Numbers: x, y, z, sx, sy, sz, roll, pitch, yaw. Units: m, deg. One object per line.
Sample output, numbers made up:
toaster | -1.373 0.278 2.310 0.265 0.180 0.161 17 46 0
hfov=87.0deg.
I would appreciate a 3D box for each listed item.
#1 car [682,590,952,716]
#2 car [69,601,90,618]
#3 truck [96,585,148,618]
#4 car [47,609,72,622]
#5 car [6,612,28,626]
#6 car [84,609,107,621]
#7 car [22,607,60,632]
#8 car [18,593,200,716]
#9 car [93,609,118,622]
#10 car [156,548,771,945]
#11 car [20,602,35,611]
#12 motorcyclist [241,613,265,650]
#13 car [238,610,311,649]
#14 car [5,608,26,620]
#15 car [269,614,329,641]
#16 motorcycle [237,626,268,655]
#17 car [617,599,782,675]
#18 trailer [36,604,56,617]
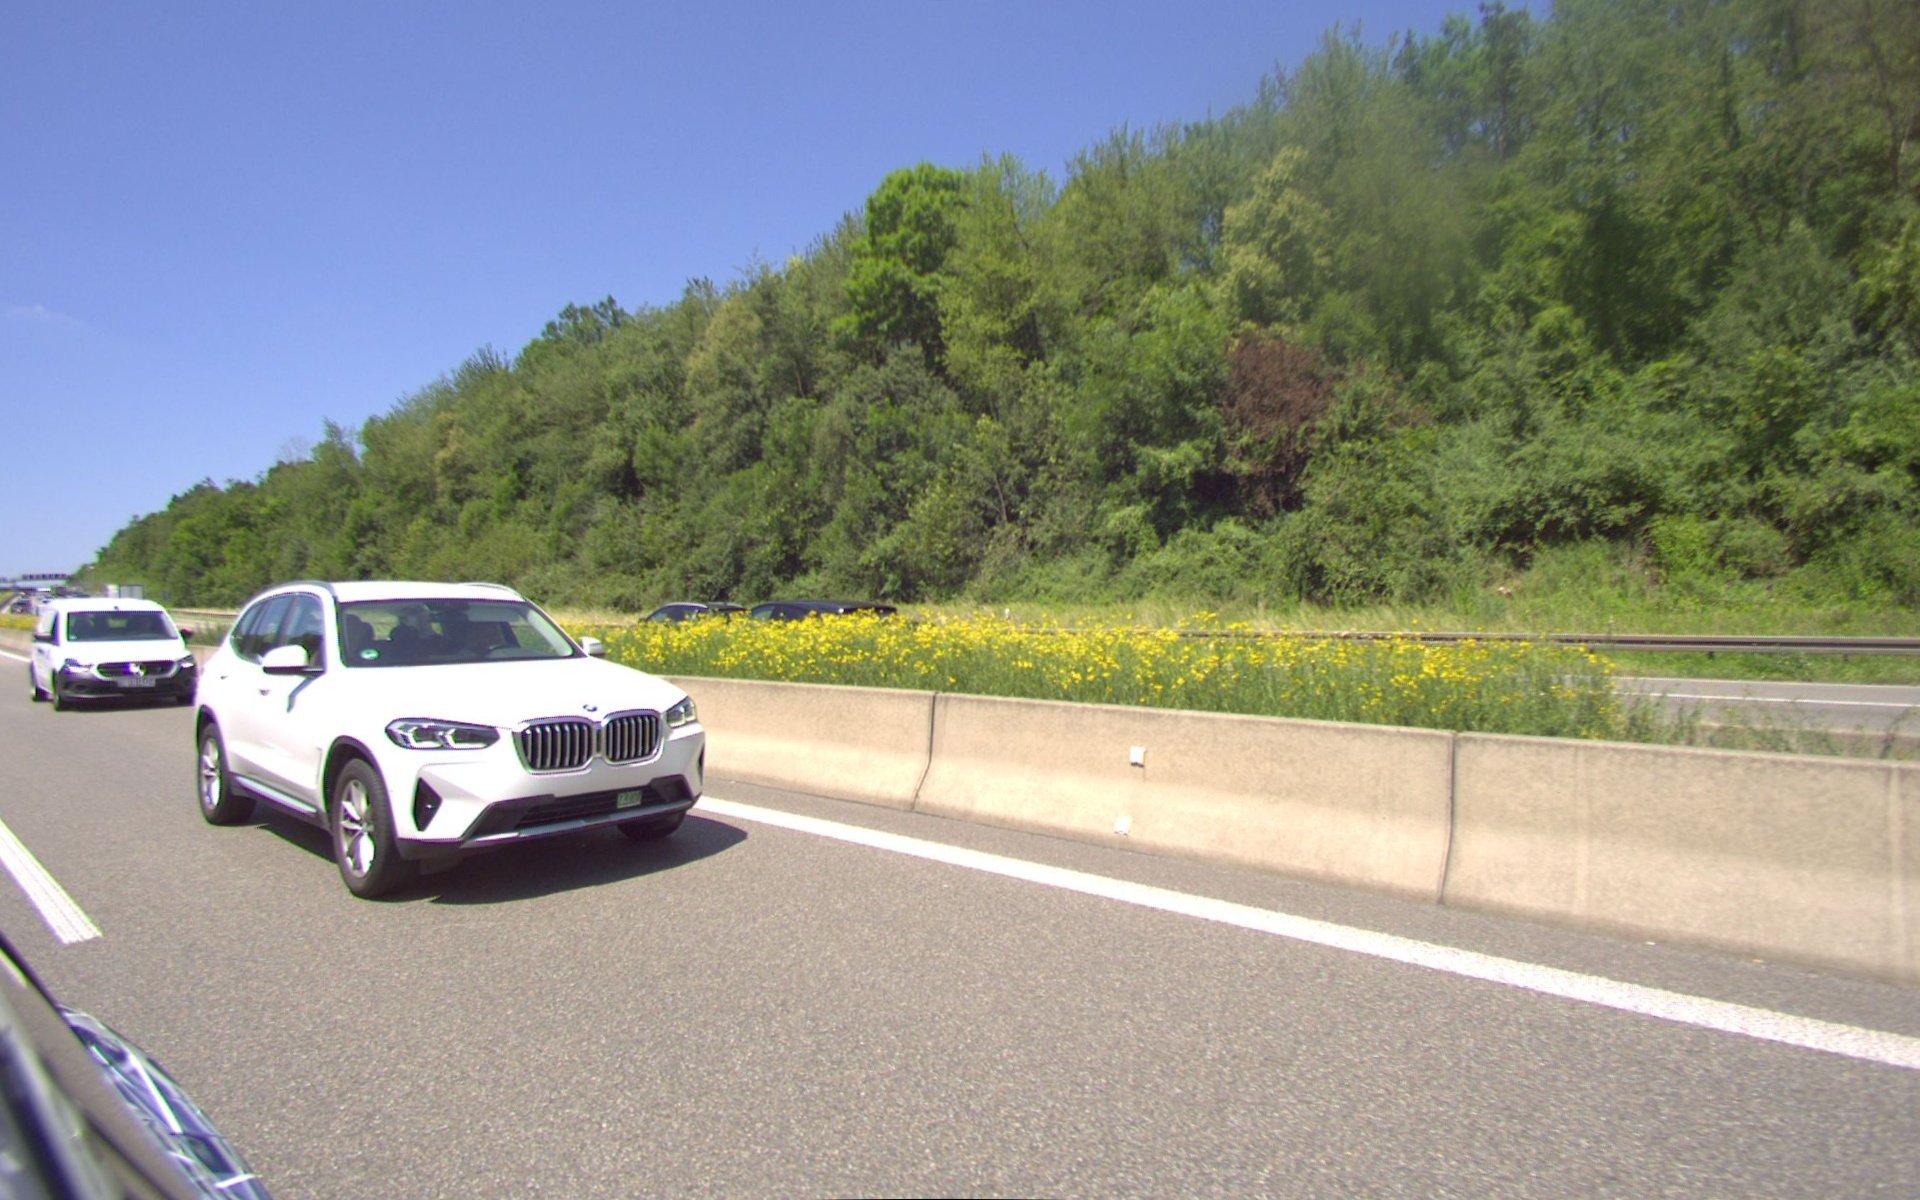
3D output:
car | -2.309 0.749 15.720 4.078 1.691 1.973 -2 -1 41
car | -132.343 1.466 152.105 3.999 2.448 1.972 -2 -1 42
truck | -111.510 0.195 134.551 13.795 4.226 3.668 0 0 44
car | -97.428 1.664 109.454 3.507 1.399 1.651 -2 -1 42
car | -104.822 2.138 112.475 3.359 1.520 1.581 0 0 43
car | -104.174 1.776 121.947 3.507 1.399 1.597 -2 -1 42
car | -77.943 1.619 85.828 4.900 2.029 1.972 0 0 43
car | -14.600 0.854 17.260 4.672 1.826 1.746 -2 -1 42
car | -94.781 1.724 112.250 3.506 1.399 1.598 -2 -1 41
car | -3.558 0.678 6.680 4.952 1.707 1.845 -2 -1 41
car | -169.835 1.188 184.300 4.001 1.483 1.824 0 0 44
motorcyclist | -26.018 1.161 37.244 0.577 1.344 0.616 -1 -1 41
car | -32.456 1.369 47.870 3.999 1.741 1.972 -1 -1 42
car | -136.230 1.946 145.995 3.999 1.680 1.897 0 0 42
car | -38.482 1.609 58.905 3.998 1.519 1.972 -2 -2 42
motorcycle | -26.053 1.494 37.279 1.466 1.041 0.617 -1 -1 42
car | -6.287 0.851 24.268 3.978 1.654 1.928 -2 -1 41
trailer | -142.108 1.617 157.407 4.000 2.029 1.972 0 0 43
